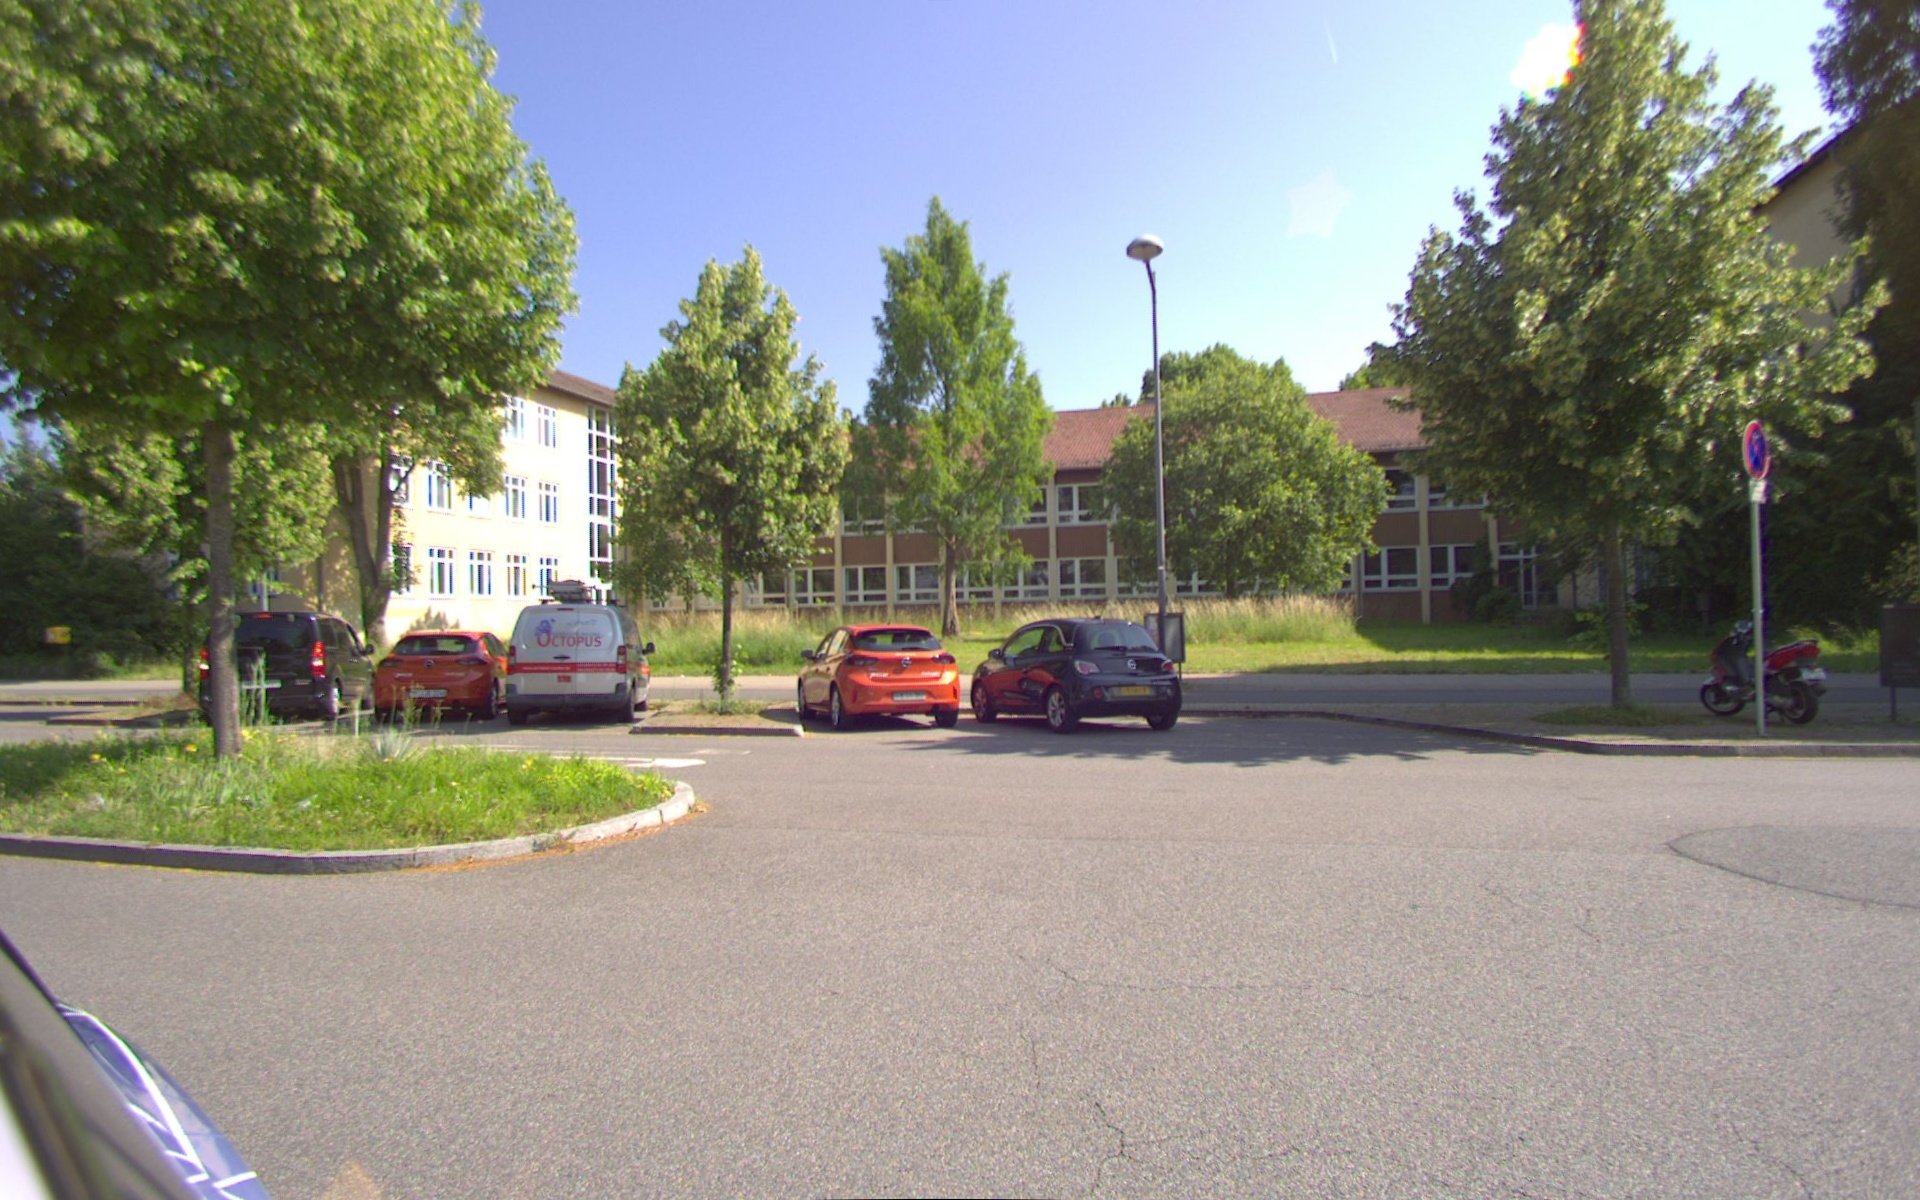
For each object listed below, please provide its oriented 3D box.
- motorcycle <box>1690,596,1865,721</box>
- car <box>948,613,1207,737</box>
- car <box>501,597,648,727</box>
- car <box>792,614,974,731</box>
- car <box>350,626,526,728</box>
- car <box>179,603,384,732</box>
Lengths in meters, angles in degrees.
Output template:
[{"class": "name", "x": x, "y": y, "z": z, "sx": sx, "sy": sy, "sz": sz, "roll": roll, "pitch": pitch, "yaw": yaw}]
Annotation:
[{"class": "motorcycle", "x": 9.228, "y": 0.628, "z": 11.533, "sx": 0.685, "sy": 1.294, "sz": 1.846, "roll": -2, "pitch": -1, "yaw": 9}, {"class": "car", "x": 1.423, "y": 0.948, "z": 13.798, "sx": 1.823, "sy": 1.434, "sz": 3.786, "roll": 0, "pitch": -2, "yaw": -24}, {"class": "car", "x": -6.015, "y": 0.899, "z": 16.182, "sx": 1.788, "sy": 1.785, "sz": 3.785, "roll": -1, "pitch": -1, "yaw": -15}, {"class": "car", "x": -1.261, "y": 0.948, "z": 14.721, "sx": 1.686, "sy": 1.434, "sz": 3.854, "roll": -1, "pitch": -1, "yaw": -19}, {"class": "car", "x": -8.565, "y": 1.210, "z": 16.944, "sx": 1.824, "sy": 1.438, "sz": 3.785, "roll": -1, "pitch": -2, "yaw": -15}, {"class": "car", "x": -11.151, "y": 1.064, "z": 16.971, "sx": 1.969, "sy": 1.830, "sz": 4.202, "roll": -1, "pitch": -2, "yaw": -21}]
